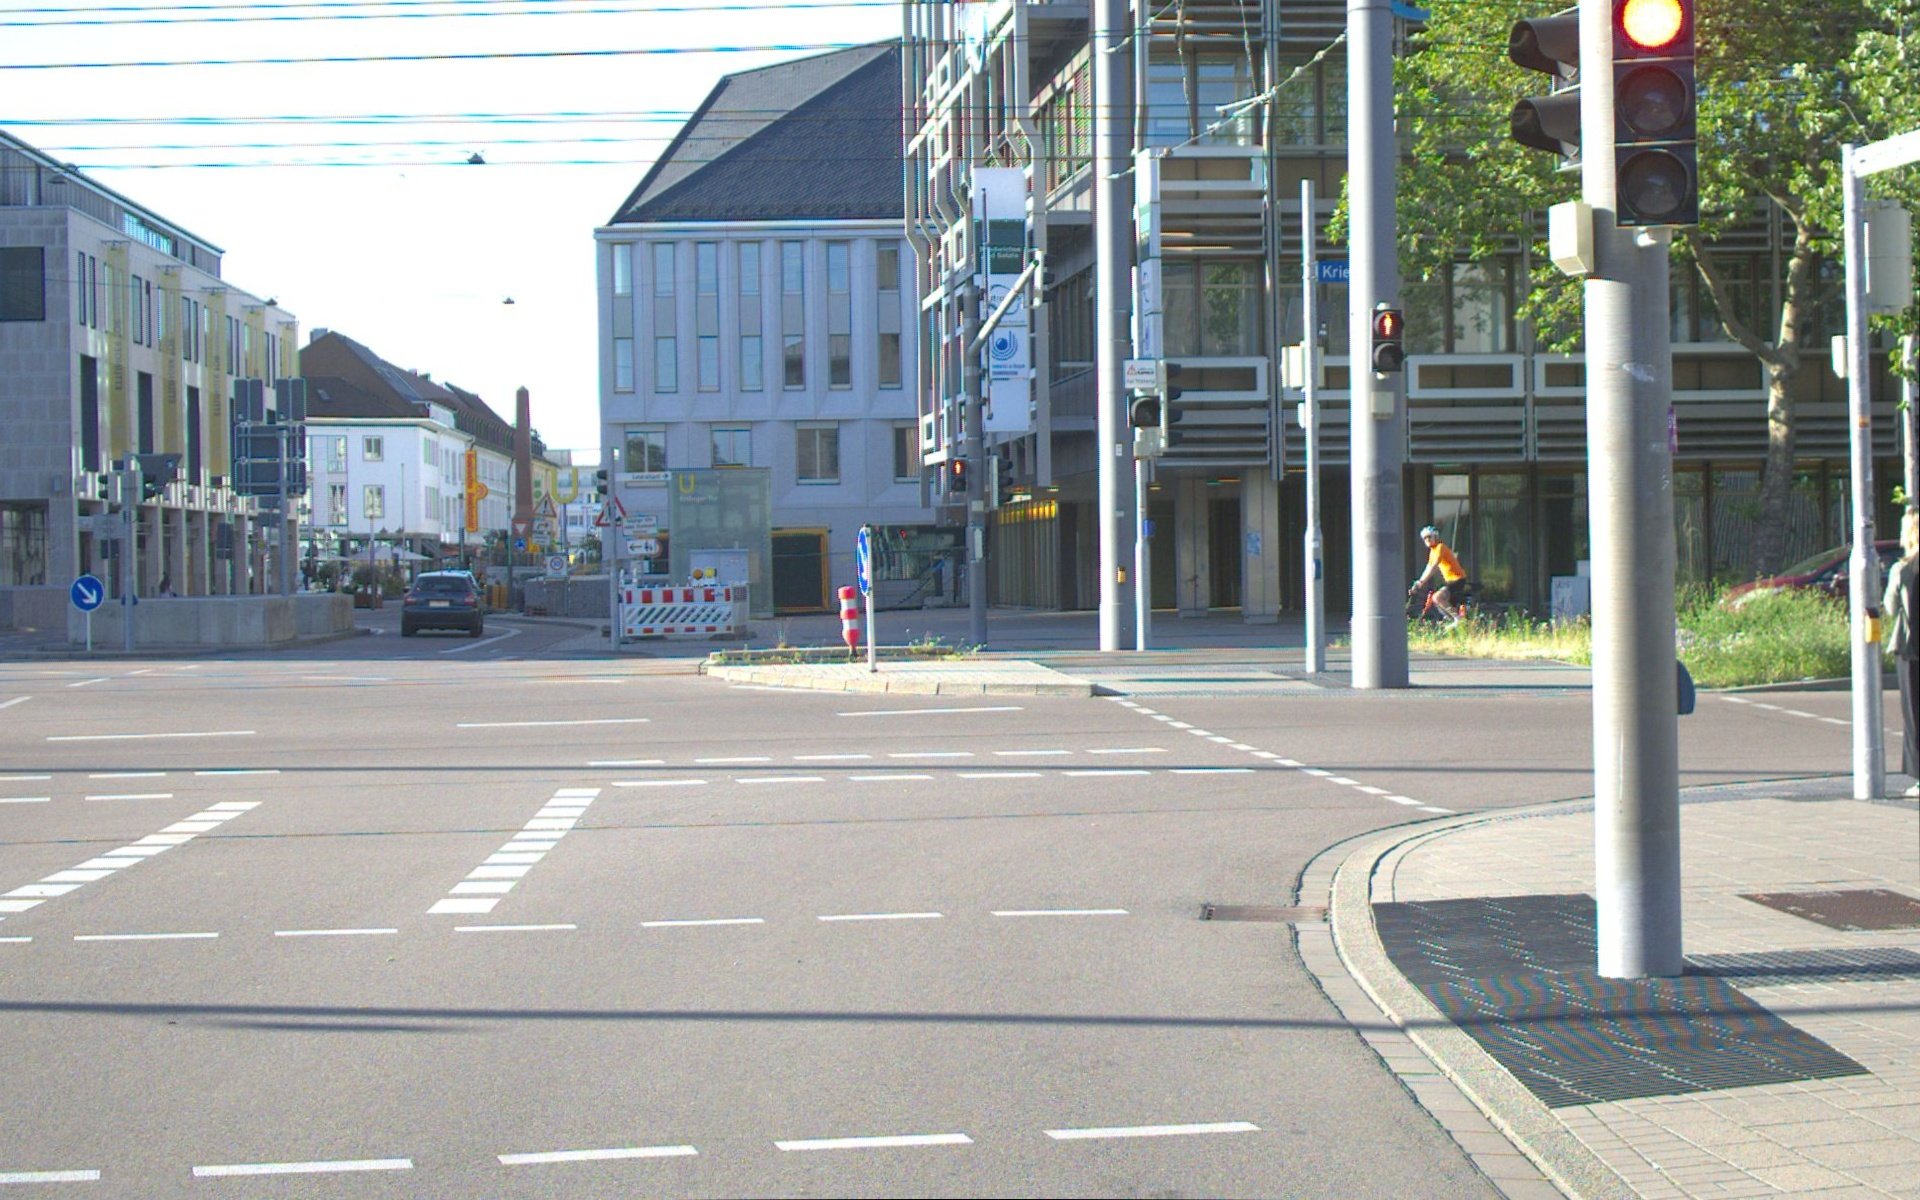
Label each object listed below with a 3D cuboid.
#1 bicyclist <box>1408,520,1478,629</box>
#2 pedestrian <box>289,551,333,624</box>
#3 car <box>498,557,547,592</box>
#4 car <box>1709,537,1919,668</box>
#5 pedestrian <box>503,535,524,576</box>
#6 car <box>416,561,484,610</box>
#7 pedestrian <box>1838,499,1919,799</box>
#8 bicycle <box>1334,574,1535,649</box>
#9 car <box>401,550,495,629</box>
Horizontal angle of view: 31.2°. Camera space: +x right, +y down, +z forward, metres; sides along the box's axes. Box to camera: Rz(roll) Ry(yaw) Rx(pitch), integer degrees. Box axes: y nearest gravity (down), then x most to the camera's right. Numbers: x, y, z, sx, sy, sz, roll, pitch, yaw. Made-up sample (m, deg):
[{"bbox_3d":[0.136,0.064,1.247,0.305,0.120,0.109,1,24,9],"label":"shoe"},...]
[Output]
[{"bbox_3d":[6.618,-0.353,47.122,0.822,1.469,0.652,-1,1,-4],"label":"bicyclist"},{"bbox_3d":[-15.919,-0.312,84.305,0.899,1.776,0.808,-1,1,-1],"label":"pedestrian"},{"bbox_3d":[-18.533,-1.087,145.837,1.658,1.453,3.542,-1,1,-1],"label":"car"},{"bbox_3d":[12.517,0.002,46.436,4.287,1.678,1.826,-1,1,-11],"label":"car"},{"bbox_3d":[-21.394,-2.145,164.681,0.910,1.958,0.823,1,0,-1],"label":"pedestrian"},{"bbox_3d":[-16.016,-0.473,108.074,1.658,1.453,3.542,-1,1,-1],"label":"car"},{"bbox_3d":[5.350,0.253,18.951,0.765,1.608,0.874,-1,1,-2],"label":"pedestrian"},{"bbox_3d":[6.492,0.155,47.114,2.568,0.972,1.047,-1,1,-3],"label":"bicycle"},{"bbox_3d":[-11.372,-0.259,76.608,1.819,1.678,4.001,-1,1,-5],"label":"car"}]
